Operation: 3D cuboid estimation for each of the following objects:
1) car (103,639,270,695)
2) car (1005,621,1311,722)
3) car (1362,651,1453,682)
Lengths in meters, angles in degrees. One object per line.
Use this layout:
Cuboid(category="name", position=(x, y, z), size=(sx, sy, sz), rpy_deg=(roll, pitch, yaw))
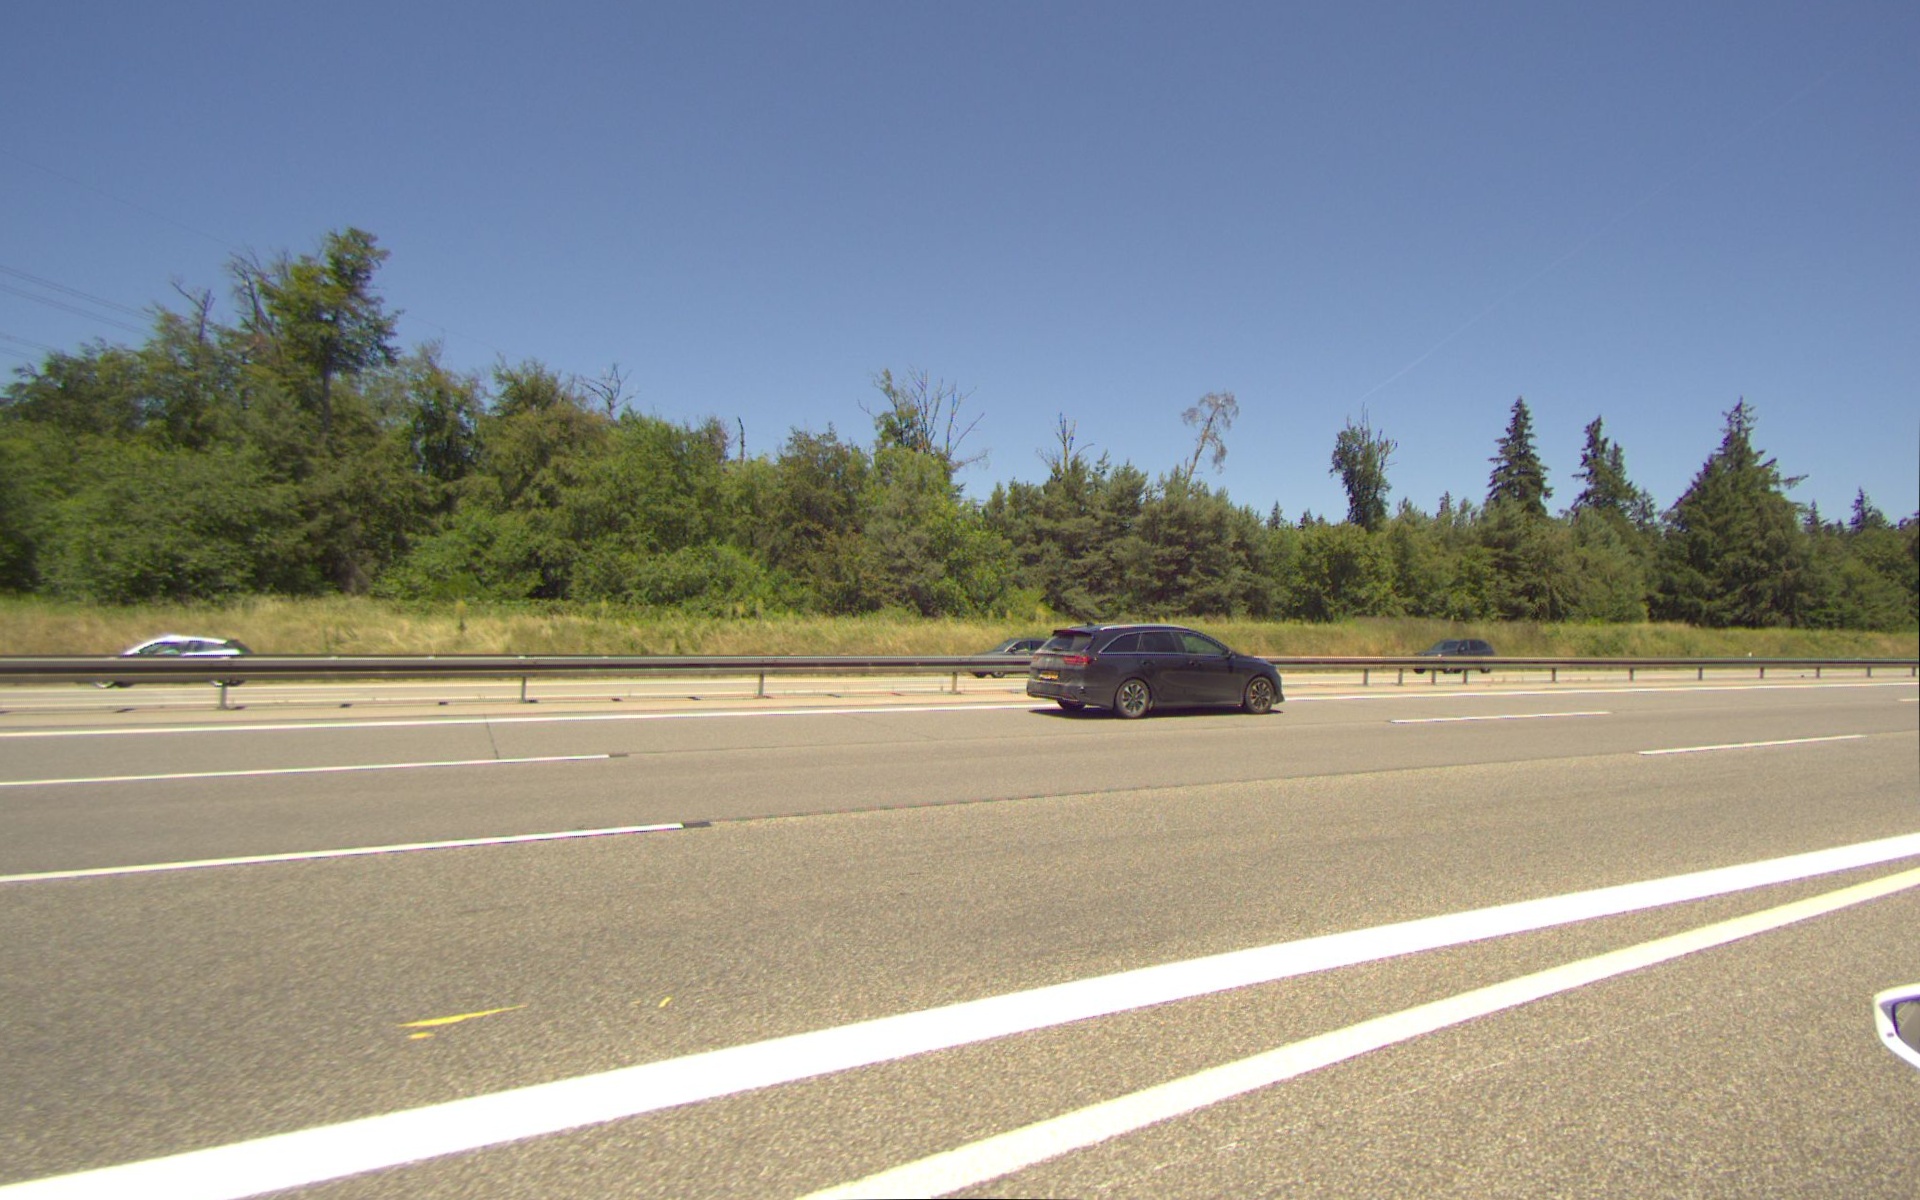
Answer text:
Cuboid(category="car", position=(-22.082, 1.893, 28.847), size=(3.521, 1.497, 1.615), rpy_deg=(1, -2, -28))
Cuboid(category="car", position=(3.323, 1.094, 16.551), size=(4.938, 1.450, 1.824), rpy_deg=(1, -1, -29))
Cuboid(category="car", position=(22.223, 3.283, 49.828), size=(4.378, 1.439, 1.783), rpy_deg=(2, -1, -27))
